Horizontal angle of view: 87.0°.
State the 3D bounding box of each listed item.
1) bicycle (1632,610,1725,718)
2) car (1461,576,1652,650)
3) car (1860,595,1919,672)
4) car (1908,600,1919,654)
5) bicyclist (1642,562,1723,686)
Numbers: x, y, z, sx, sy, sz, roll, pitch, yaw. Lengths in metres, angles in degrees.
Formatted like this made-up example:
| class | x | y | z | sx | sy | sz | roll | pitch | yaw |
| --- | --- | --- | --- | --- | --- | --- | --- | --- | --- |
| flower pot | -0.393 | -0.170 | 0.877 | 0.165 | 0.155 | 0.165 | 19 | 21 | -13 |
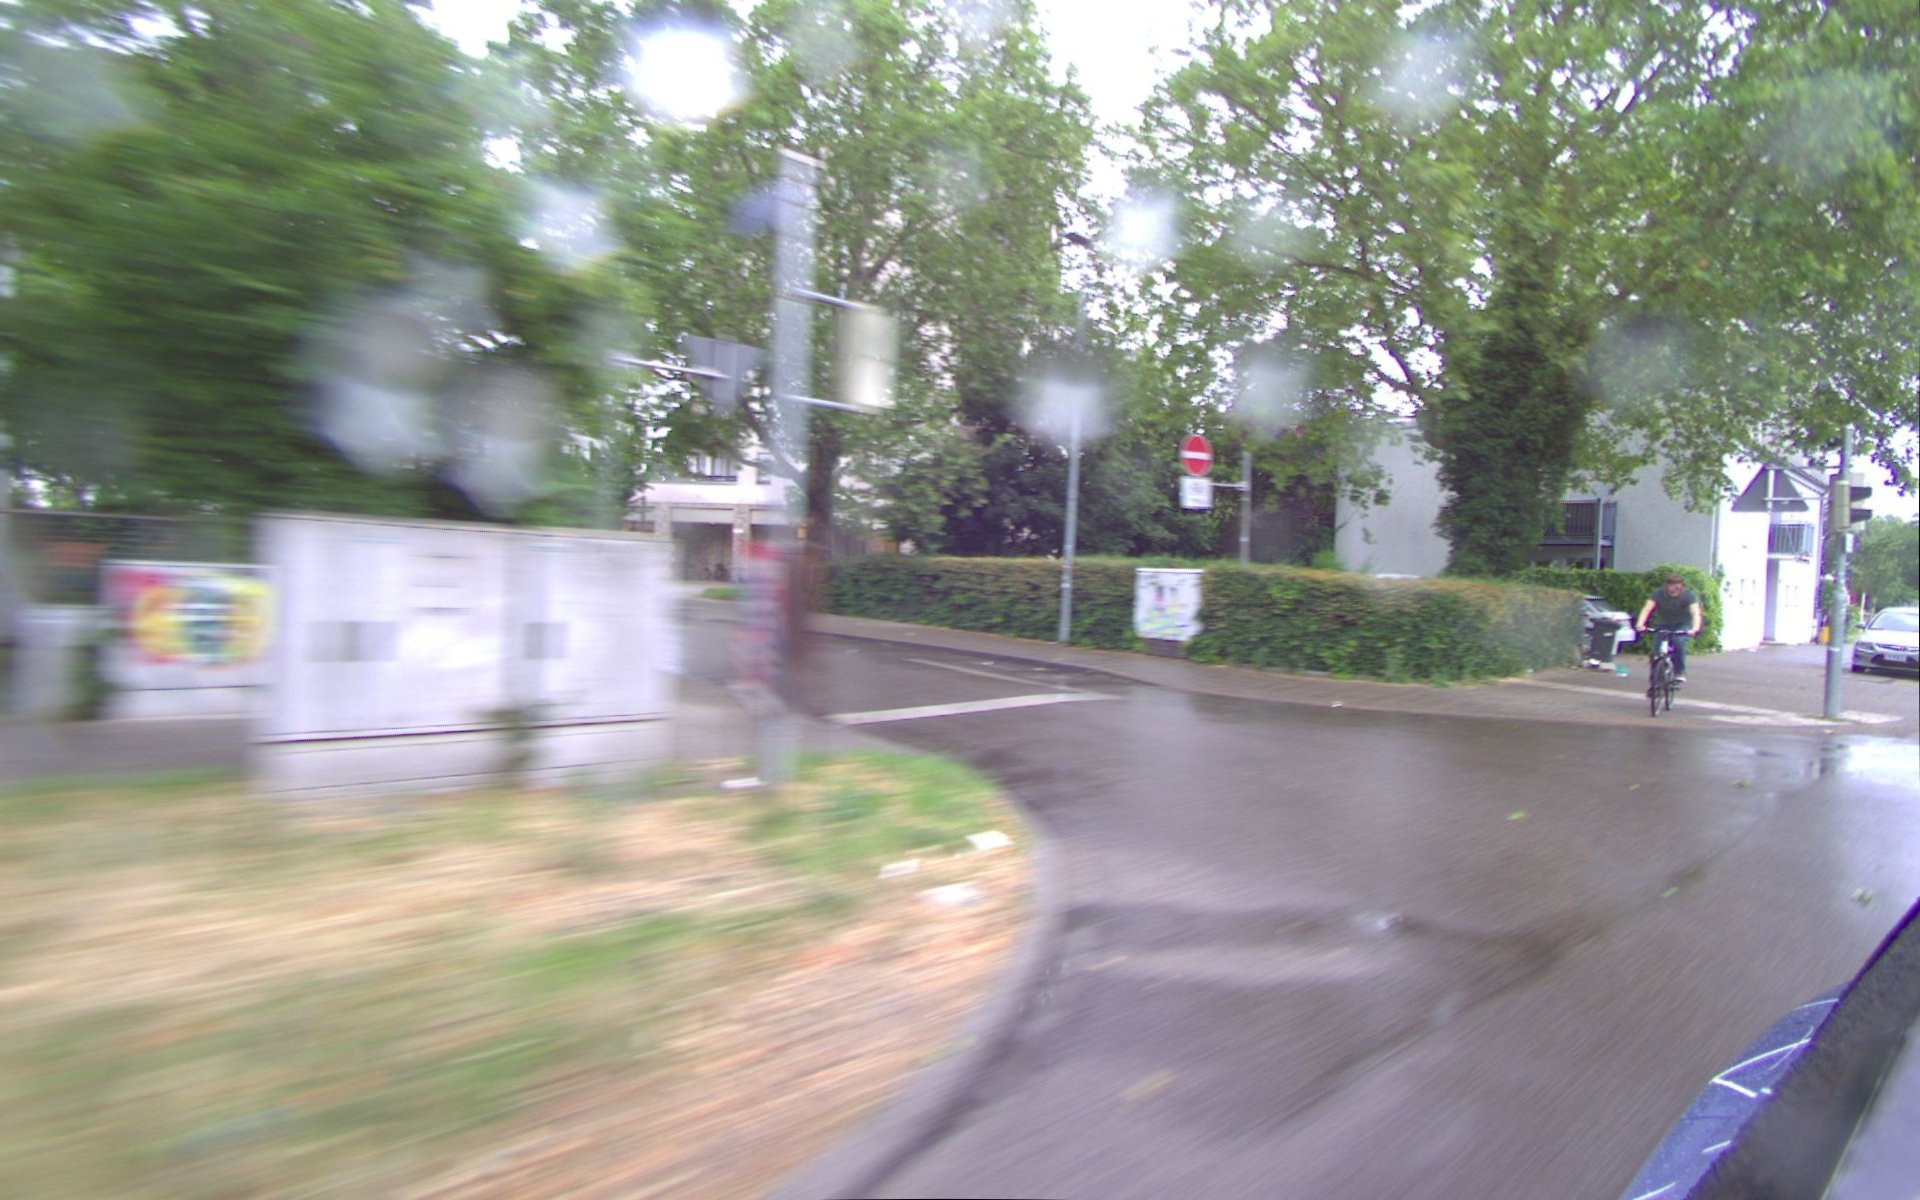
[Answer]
| class | x | y | z | sx | sy | sz | roll | pitch | yaw |
| --- | --- | --- | --- | --- | --- | --- | --- | --- | --- |
| bicycle | 9.022 | 0.741 | 12.662 | 0.672 | 1.157 | 2.409 | 5 | 4 | 40 |
| car | 14.416 | 0.270 | 24.599 | 1.646 | 1.424 | 3.582 | 1 | 4 | -38 |
| car | 20.906 | 0.731 | 21.732 | 3.930 | 1.504 | 1.780 | 1 | 4 | -41 |
| car | 28.899 | 0.847 | 29.189 | 3.930 | 1.504 | 1.780 | 1 | 4 | -41 |
| bicyclist | 8.941 | 0.273 | 12.520 | 0.673 | 1.447 | 0.743 | 5 | 3 | 41 |
